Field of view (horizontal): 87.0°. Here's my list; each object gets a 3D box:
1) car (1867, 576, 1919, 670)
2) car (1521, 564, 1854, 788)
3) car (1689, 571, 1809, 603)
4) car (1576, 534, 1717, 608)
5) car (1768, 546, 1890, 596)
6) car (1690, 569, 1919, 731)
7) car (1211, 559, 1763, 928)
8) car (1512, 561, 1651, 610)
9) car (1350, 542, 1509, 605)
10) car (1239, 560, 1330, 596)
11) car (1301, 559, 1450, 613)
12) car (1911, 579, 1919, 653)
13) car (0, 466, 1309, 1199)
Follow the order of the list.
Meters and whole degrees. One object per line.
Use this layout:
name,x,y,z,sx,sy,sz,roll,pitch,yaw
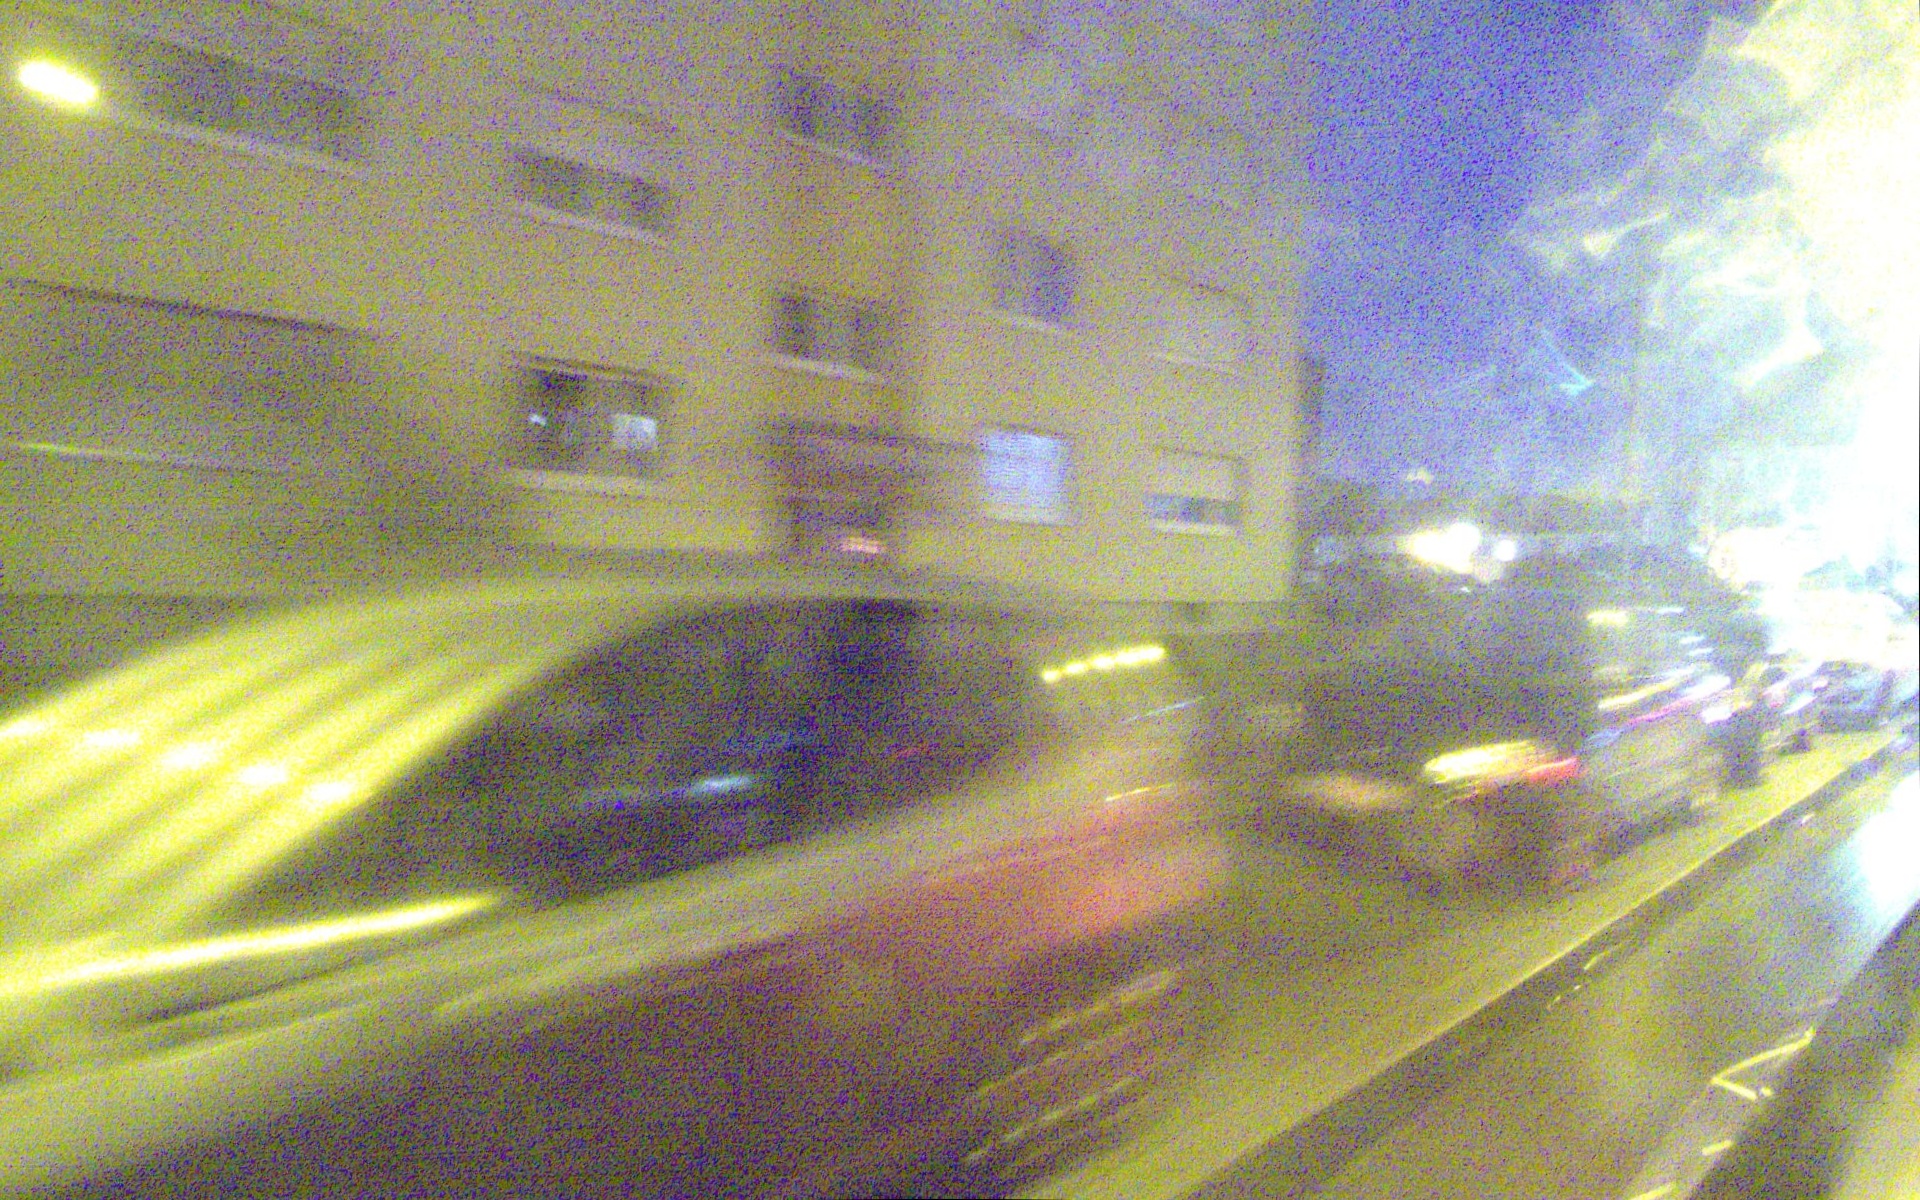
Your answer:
car,18.459,0.437,18.896,3.771,1.610,1.894,0,3,-43
car,6.498,0.505,8.874,3.885,1.491,1.606,0,3,-43
car,36.620,-0.616,47.074,1.766,1.284,4.031,1,3,-33
car,26.589,-1.165,39.316,1.766,2.650,4.031,1,3,-33
car,41.579,-1.400,48.519,1.766,2.195,4.031,1,3,-33
car,10.783,0.498,12.377,4.699,1.566,1.800,0,3,-39
car,3.355,0.582,6.104,3.883,1.491,1.607,0,3,-41
car,21.103,-0.517,34.471,1.636,1.474,3.663,1,3,-40
car,14.305,-0.836,31.037,1.635,1.727,4.095,1,3,-36
car,14.996,-1.040,46.855,1.636,1.474,3.663,1,3,-40
car,12.116,-0.426,29.649,1.636,1.357,3.663,1,3,-40
car,22.755,0.399,22.743,3.556,1.610,1.738,0,3,-43
car,-1.021,0.550,2.311,3.885,1.491,1.798,0,3,-43
